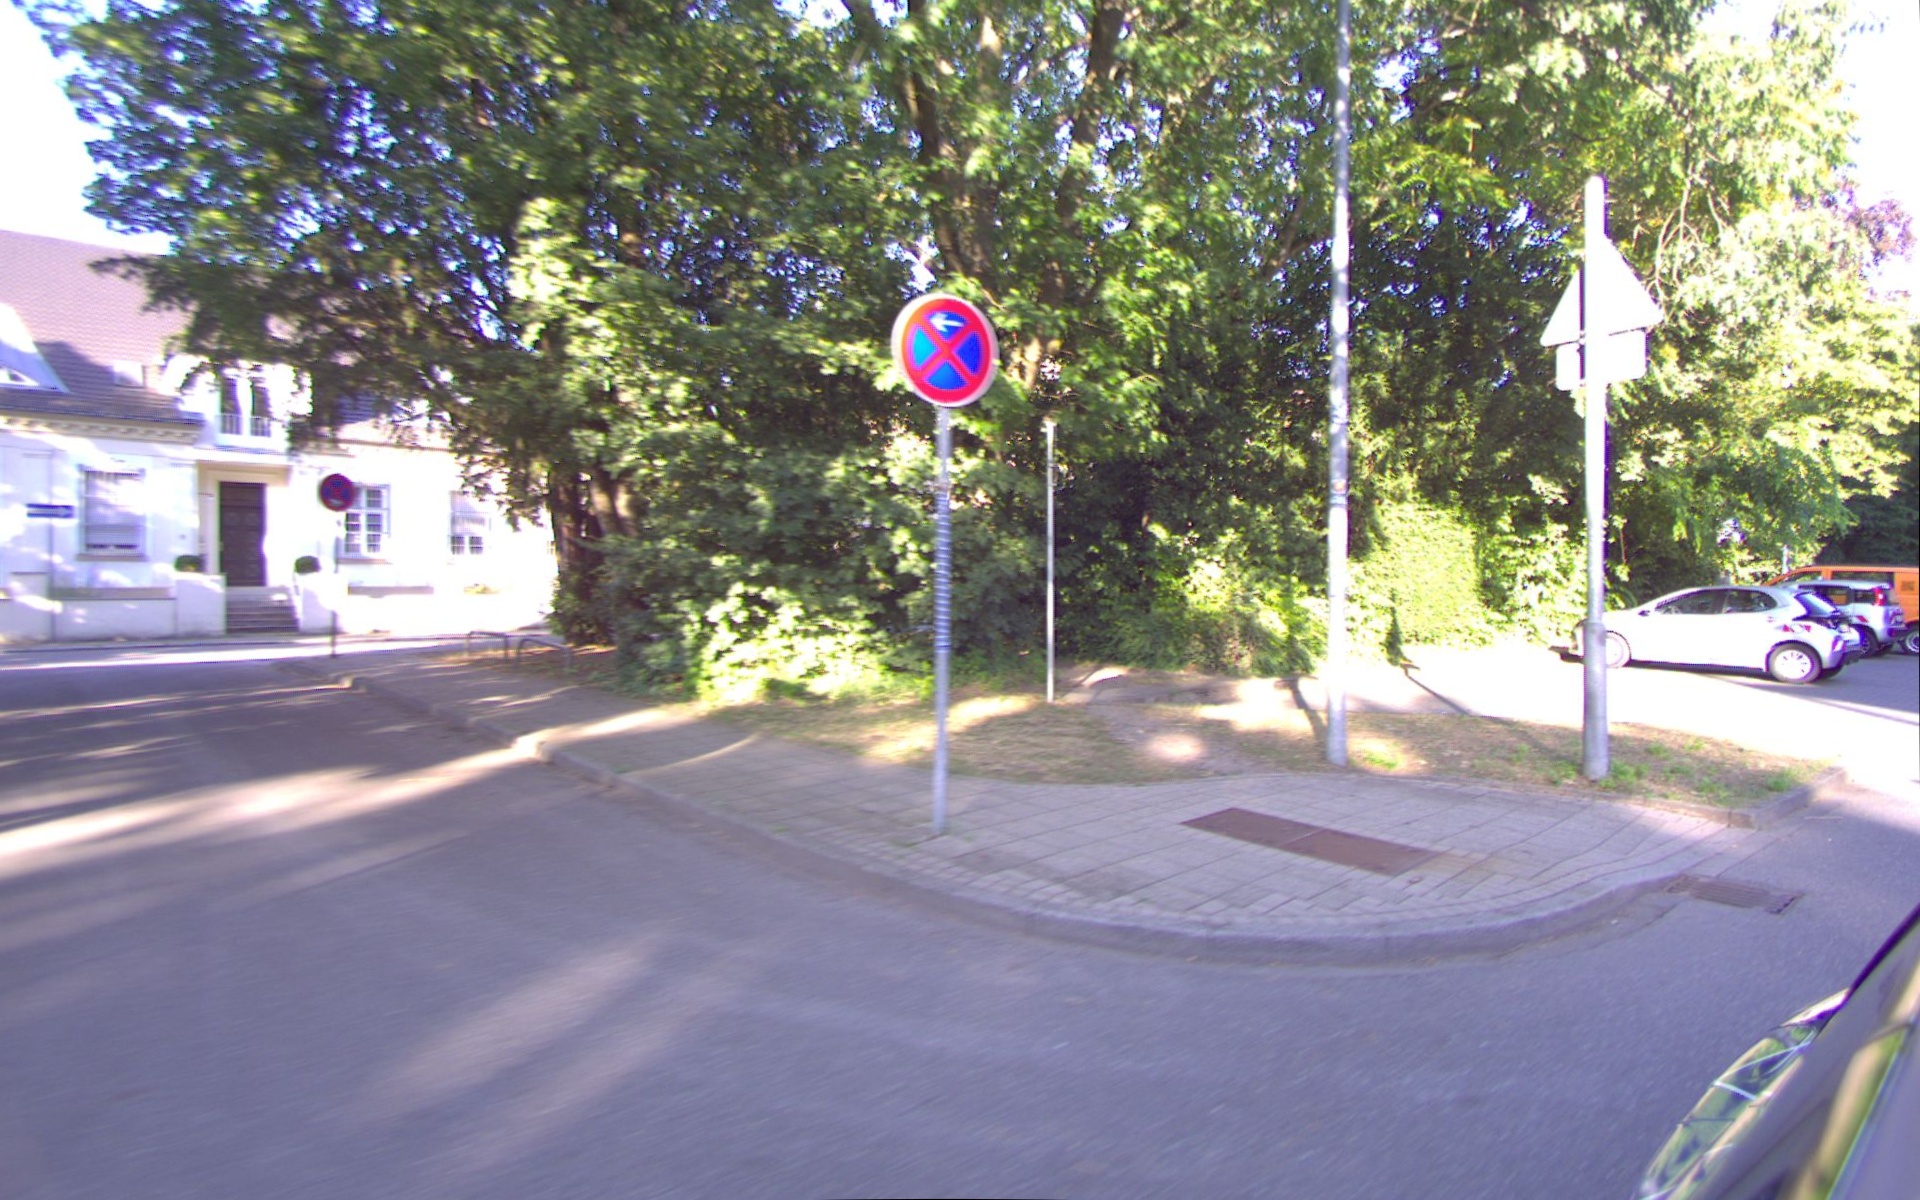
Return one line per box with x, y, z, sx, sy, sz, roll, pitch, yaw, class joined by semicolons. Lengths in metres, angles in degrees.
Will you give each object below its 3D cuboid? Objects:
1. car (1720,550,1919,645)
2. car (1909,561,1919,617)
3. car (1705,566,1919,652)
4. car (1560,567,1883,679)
20.889;-0.098;23.484;2.044;2.022;4.808;-1;3;-39;car
34.156;-0.292;33.220;1.881;1.886;3.989;0;3;-31;car
18.599;0.125;22.071;1.648;1.651;3.409;0;3;-35;car
12.635;0.279;17.020;1.703;1.565;3.999;-1;3;-37;car
